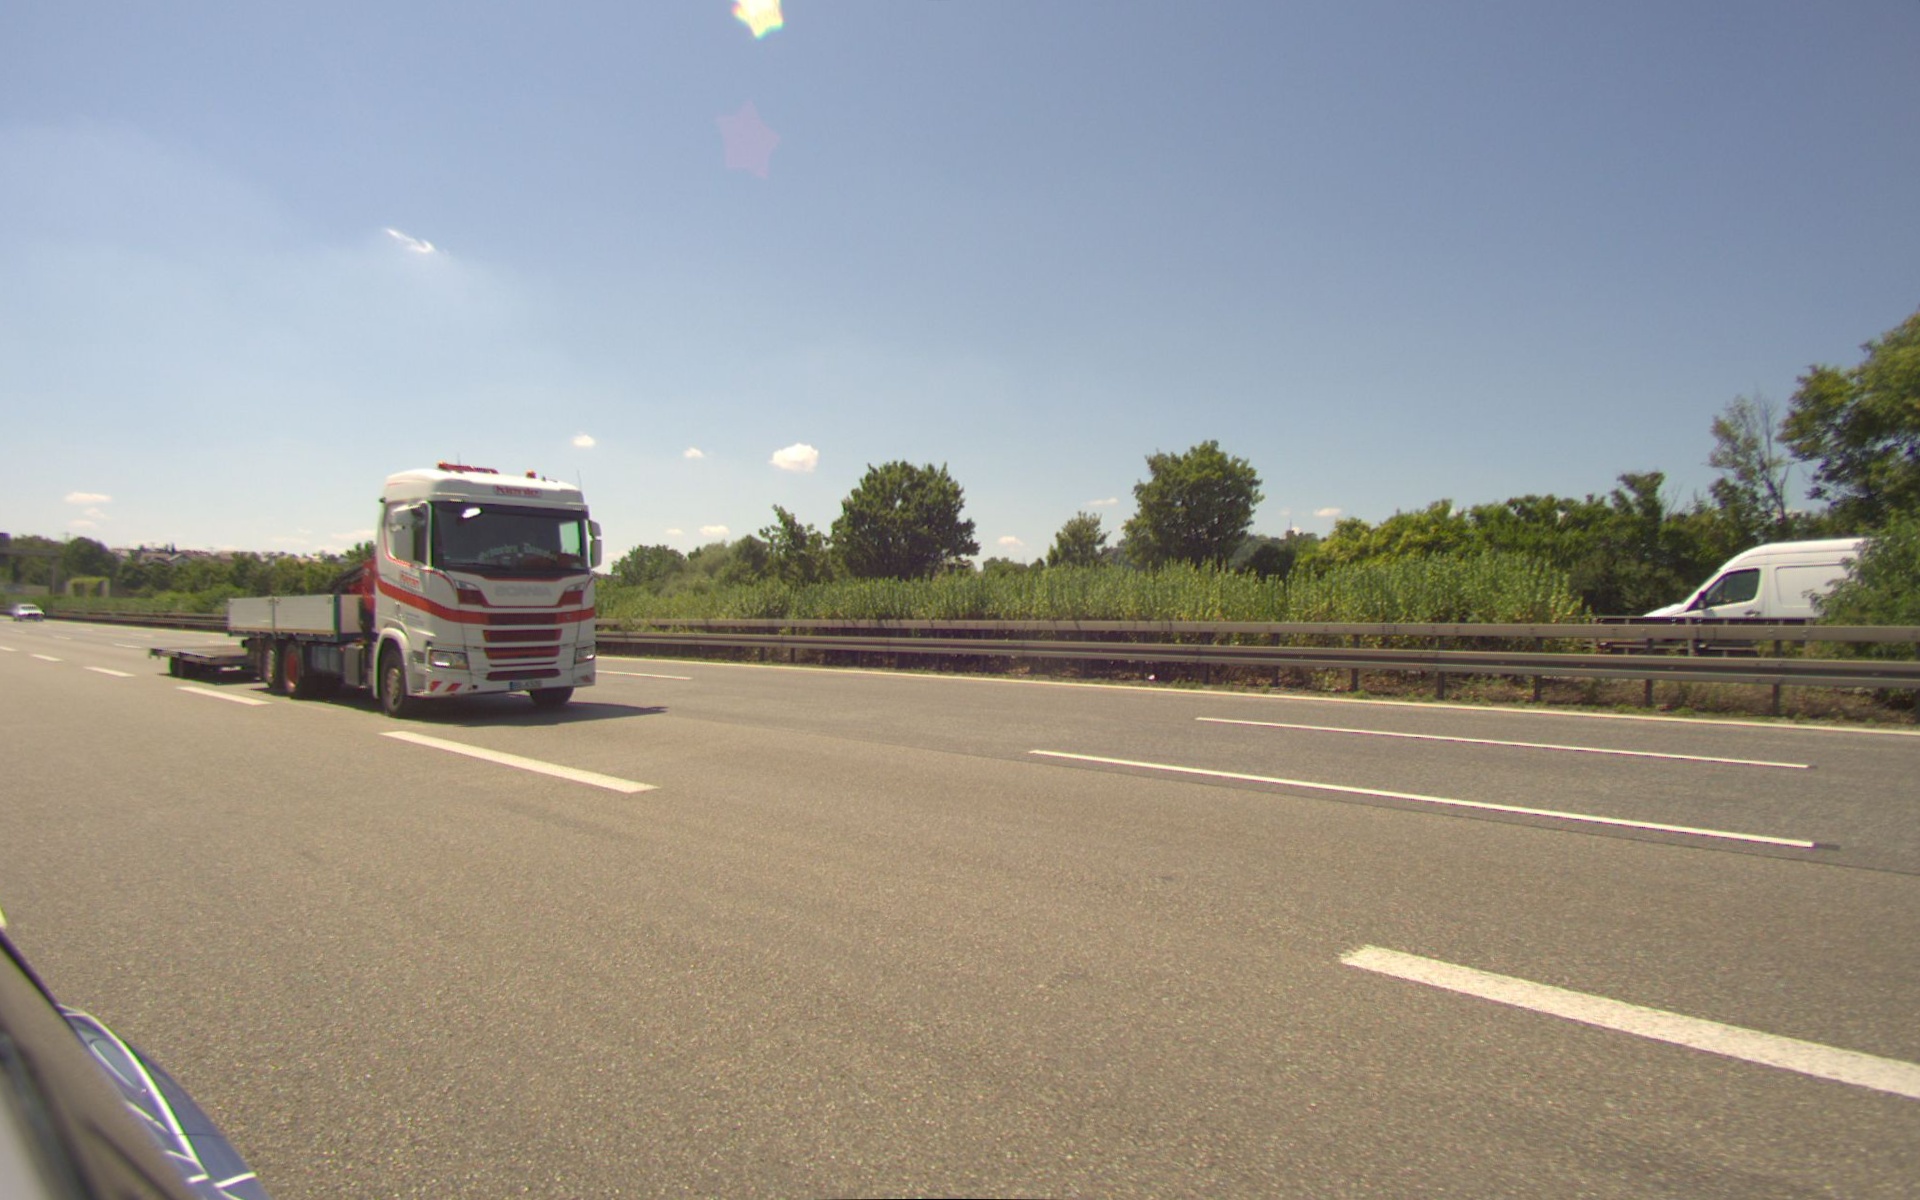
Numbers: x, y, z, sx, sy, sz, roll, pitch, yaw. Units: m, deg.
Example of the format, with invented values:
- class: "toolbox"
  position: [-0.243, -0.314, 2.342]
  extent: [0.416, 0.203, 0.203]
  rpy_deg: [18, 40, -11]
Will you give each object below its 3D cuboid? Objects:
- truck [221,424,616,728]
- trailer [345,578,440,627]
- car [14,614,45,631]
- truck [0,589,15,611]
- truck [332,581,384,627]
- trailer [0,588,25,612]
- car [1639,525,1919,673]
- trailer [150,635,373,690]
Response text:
- class: "truck"
  position: [-9.825, -0.240, 17.390]
  extent: [10.671, 3.831, 2.685]
  rpy_deg: [-1, -1, 43]
- class: "trailer"
  position: [-48.933, 0.307, 86.995]
  extent: [13.710, 3.977, 2.512]
  rpy_deg: [-1, -1, 40]
- class: "car"
  position: [-89.390, 2.186, 97.234]
  extent: [3.999, 1.564, 1.858]
  rpy_deg: [-2, -1, 42]
- class: "truck"
  position: [-172.456, 0.016, 181.514]
  extent: [10.310, 3.997, 2.972]
  rpy_deg: [0, 0, 39]
- class: "truck"
  position: [-54.623, 0.378, 91.769]
  extent: [5.162, 3.977, 2.512]
  rpy_deg: [-1, -1, 40]
- class: "trailer"
  position: [-165.025, 0.055, 175.526]
  extent: [8.648, 3.997, 2.894]
  rpy_deg: [0, 0, 39]
- class: "car"
  position: [16.332, 0.007, 20.276]
  extent: [4.316, 2.667, 1.821]
  rpy_deg: [-1, -1, 42]
- class: "trailer"
  position: [-16.495, 1.357, 23.643]
  extent: [7.759, 0.941, 2.685]
  rpy_deg: [-1, -1, 43]
